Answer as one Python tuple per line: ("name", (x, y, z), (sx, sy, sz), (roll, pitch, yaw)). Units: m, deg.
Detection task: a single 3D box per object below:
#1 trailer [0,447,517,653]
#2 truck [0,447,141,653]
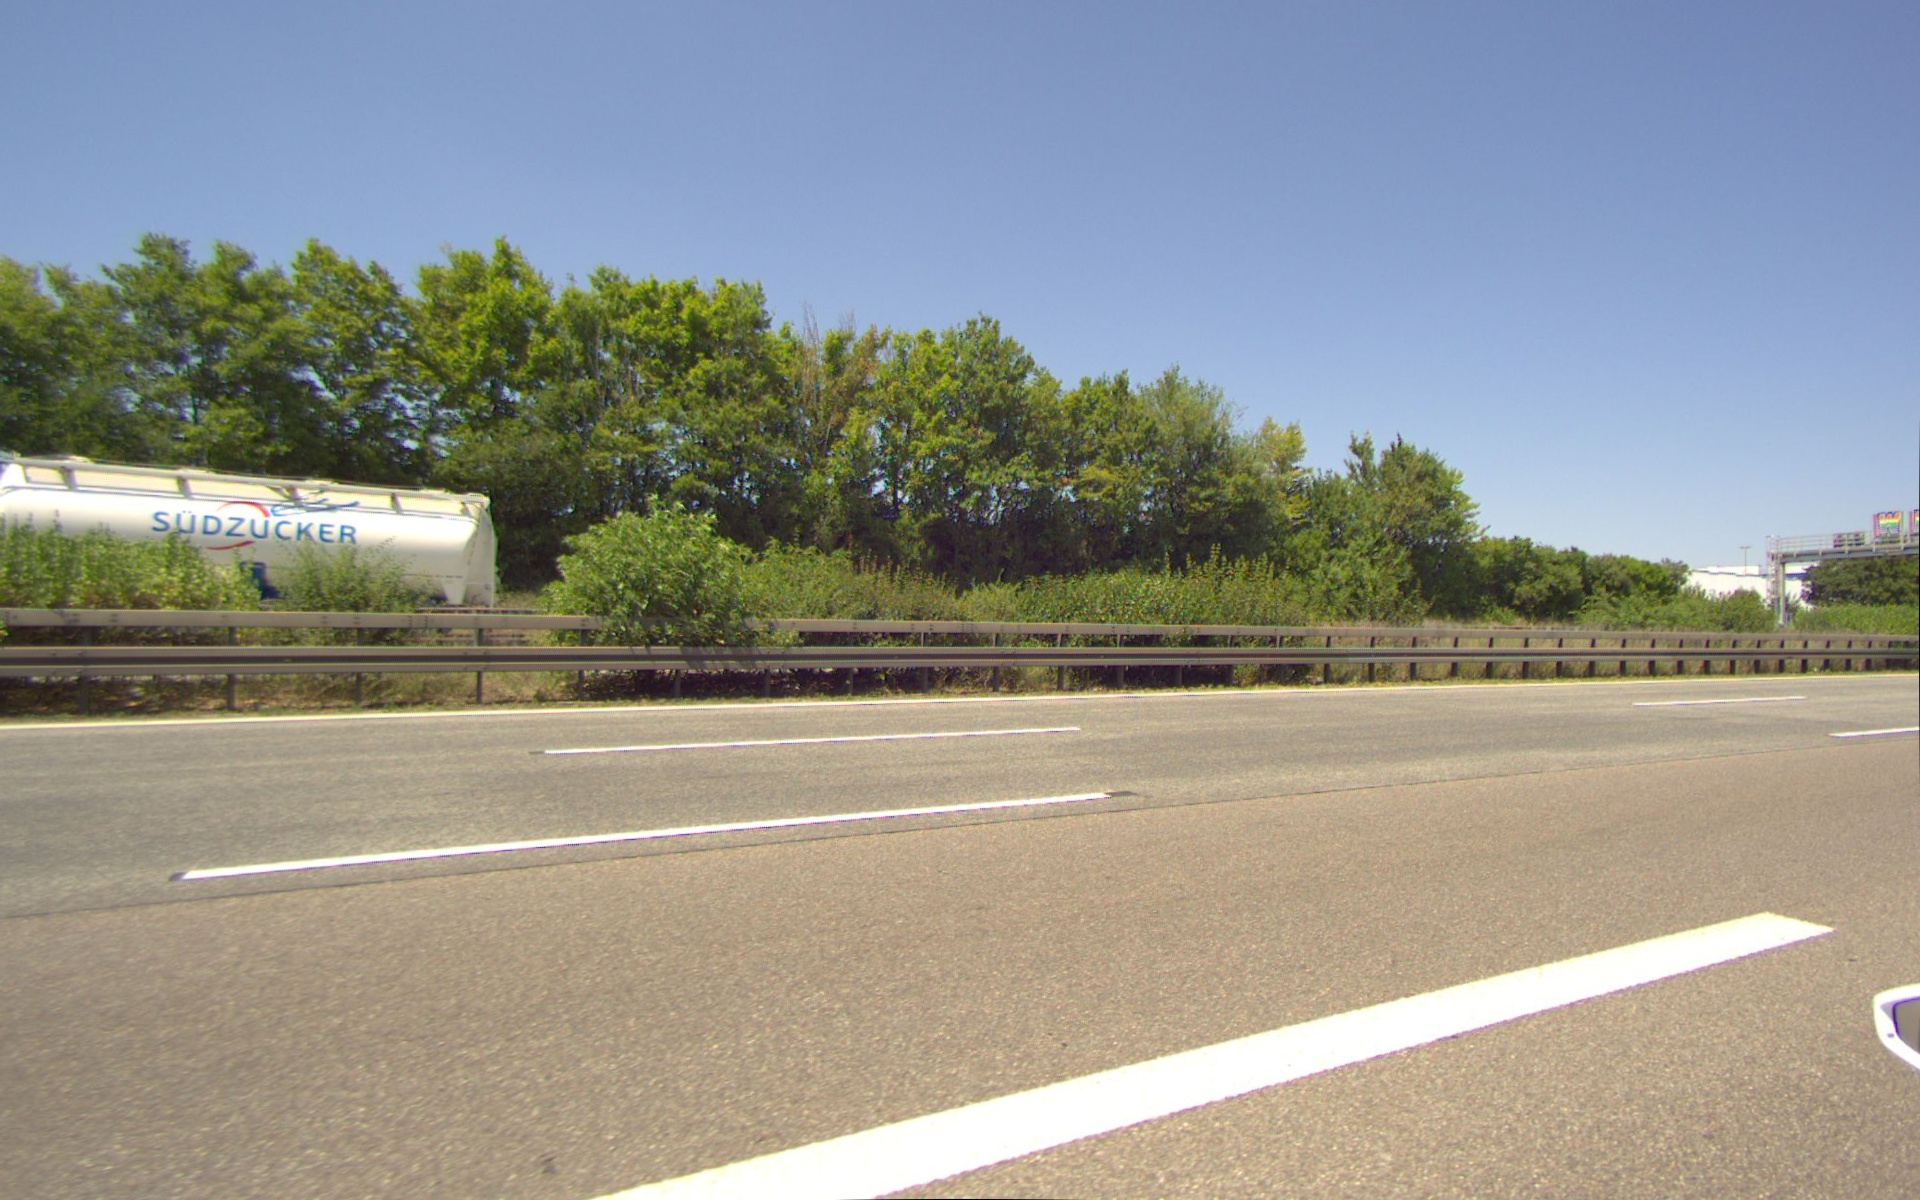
("trailer", (-15.237, -0.883, 22.429), (9.611, 3.941, 2.679), (1, 0, -28))
("truck", (-20.120, -0.998, 19.796), (5.673, 3.941, 2.684), (1, 0, -28))
